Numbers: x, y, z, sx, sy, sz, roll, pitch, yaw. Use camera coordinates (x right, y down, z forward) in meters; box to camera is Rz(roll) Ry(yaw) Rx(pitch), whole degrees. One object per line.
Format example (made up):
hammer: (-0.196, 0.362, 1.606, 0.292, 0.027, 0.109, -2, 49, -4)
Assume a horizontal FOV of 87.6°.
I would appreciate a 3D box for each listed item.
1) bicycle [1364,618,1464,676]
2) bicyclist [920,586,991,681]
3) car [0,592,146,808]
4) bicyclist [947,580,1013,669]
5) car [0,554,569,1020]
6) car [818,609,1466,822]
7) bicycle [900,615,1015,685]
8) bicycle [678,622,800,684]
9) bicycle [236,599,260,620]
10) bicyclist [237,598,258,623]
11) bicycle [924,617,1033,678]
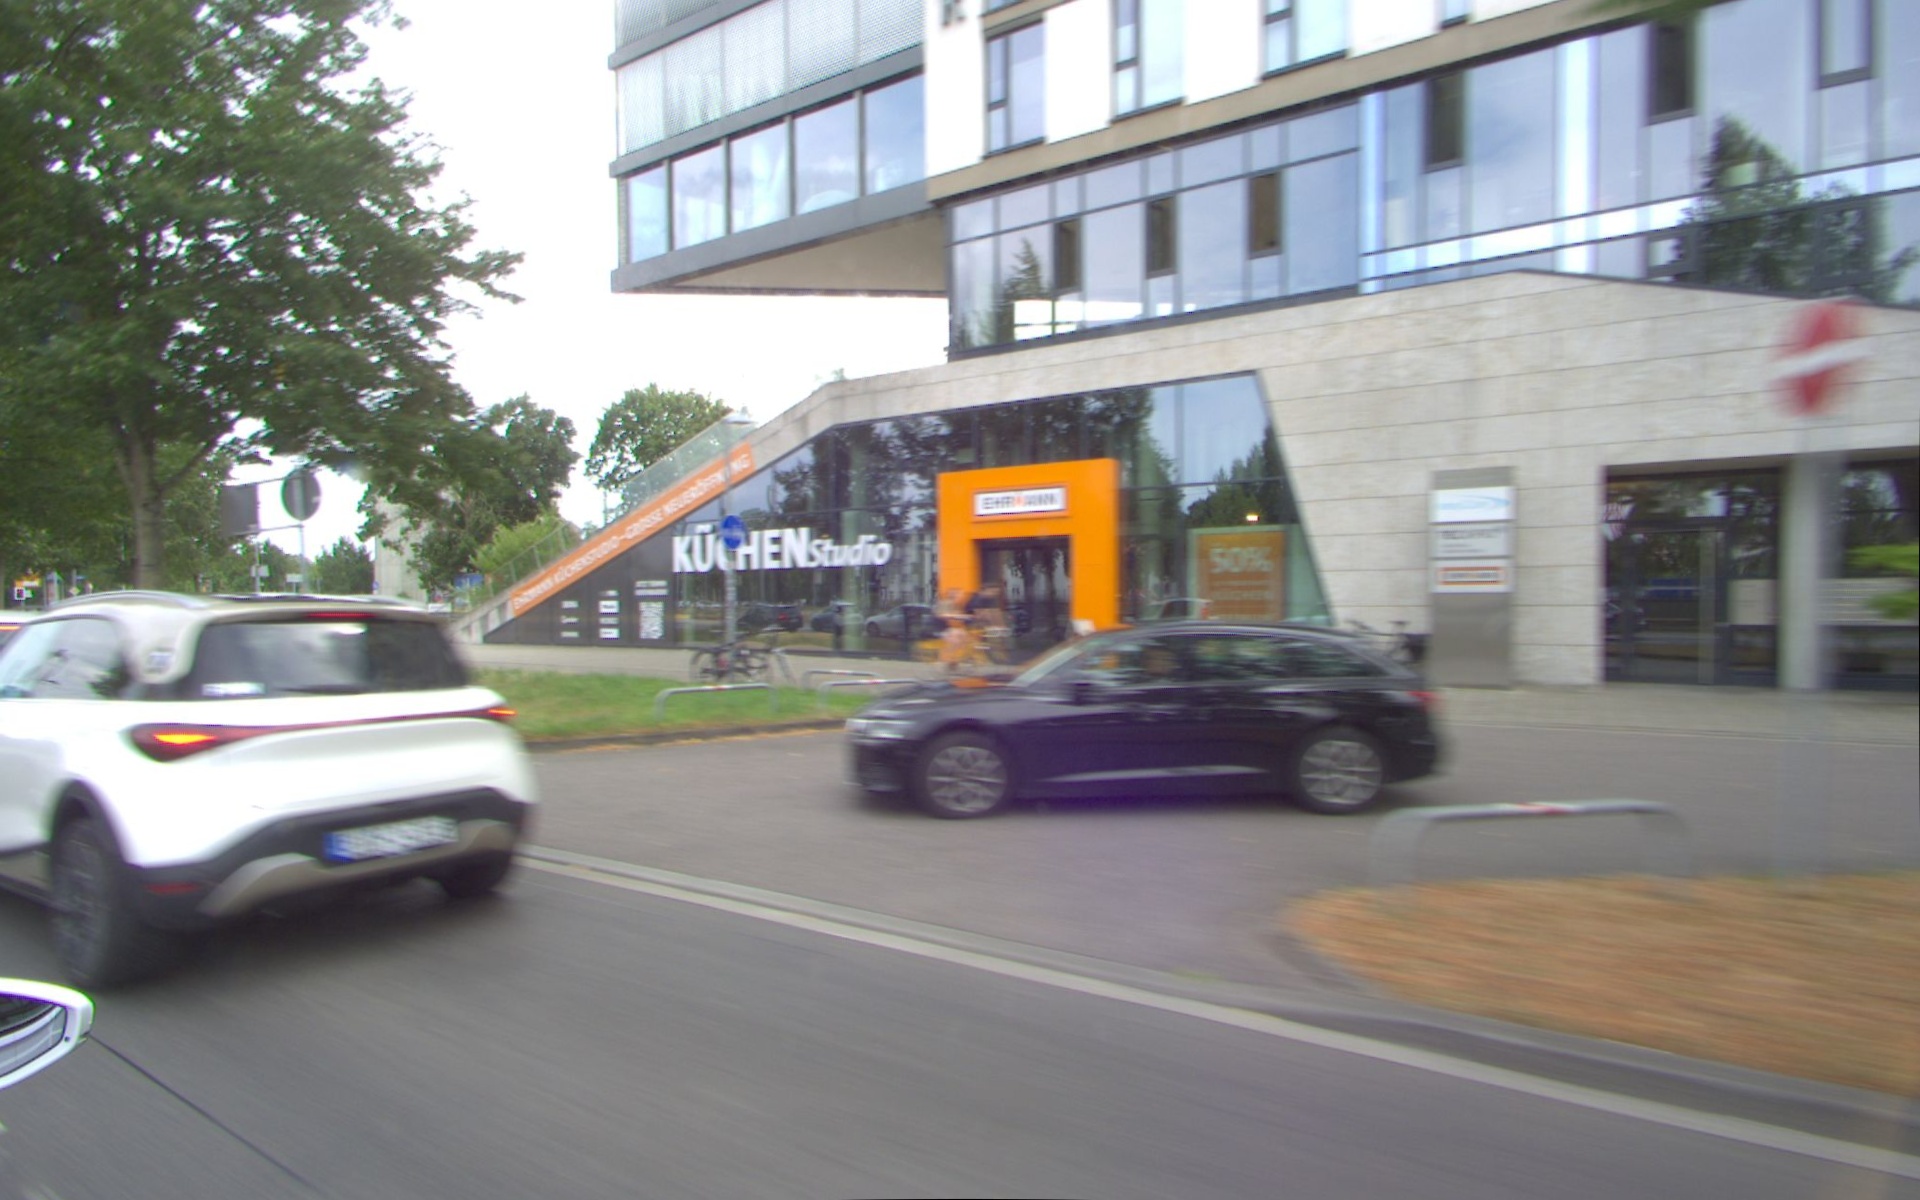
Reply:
bicycle: (7.617, 0.778, 16.807, 1.472, 0.922, 0.517, 0, 1, 33)
bicyclist: (-0.074, 0.575, 17.638, 0.975, 1.604, 0.723, 0, 2, 32)
car: (-9.111, 0.791, 8.893, 3.966, 1.678, 1.775, 0, 0, 33)
bicyclist: (0.375, 0.451, 18.687, 0.975, 1.604, 0.723, 0, 2, 32)
car: (-4.149, 0.709, 5.443, 3.966, 1.678, 1.776, 0, -1, 33)
car: (1.326, 0.841, 8.295, 4.776, 1.495, 1.947, 0, 0, -3)
bicycle: (-0.066, 0.848, 17.586, 1.978, 1.158, 0.672, 0, 1, 33)
bicycle: (-3.690, 0.853, 16.662, 2.075, 0.968, 0.629, 0, 1, 28)
bicycle: (-52.079, 0.726, 73.243, 1.977, 1.525, 0.704, -1, -2, 30)
bicyclist: (-52.146, 0.793, 73.266, 1.157, 1.812, 0.865, 1, 0, 31)
bicycle: (0.339, 0.860, 18.679, 1.978, 1.056, 0.672, 0, 1, 33)
